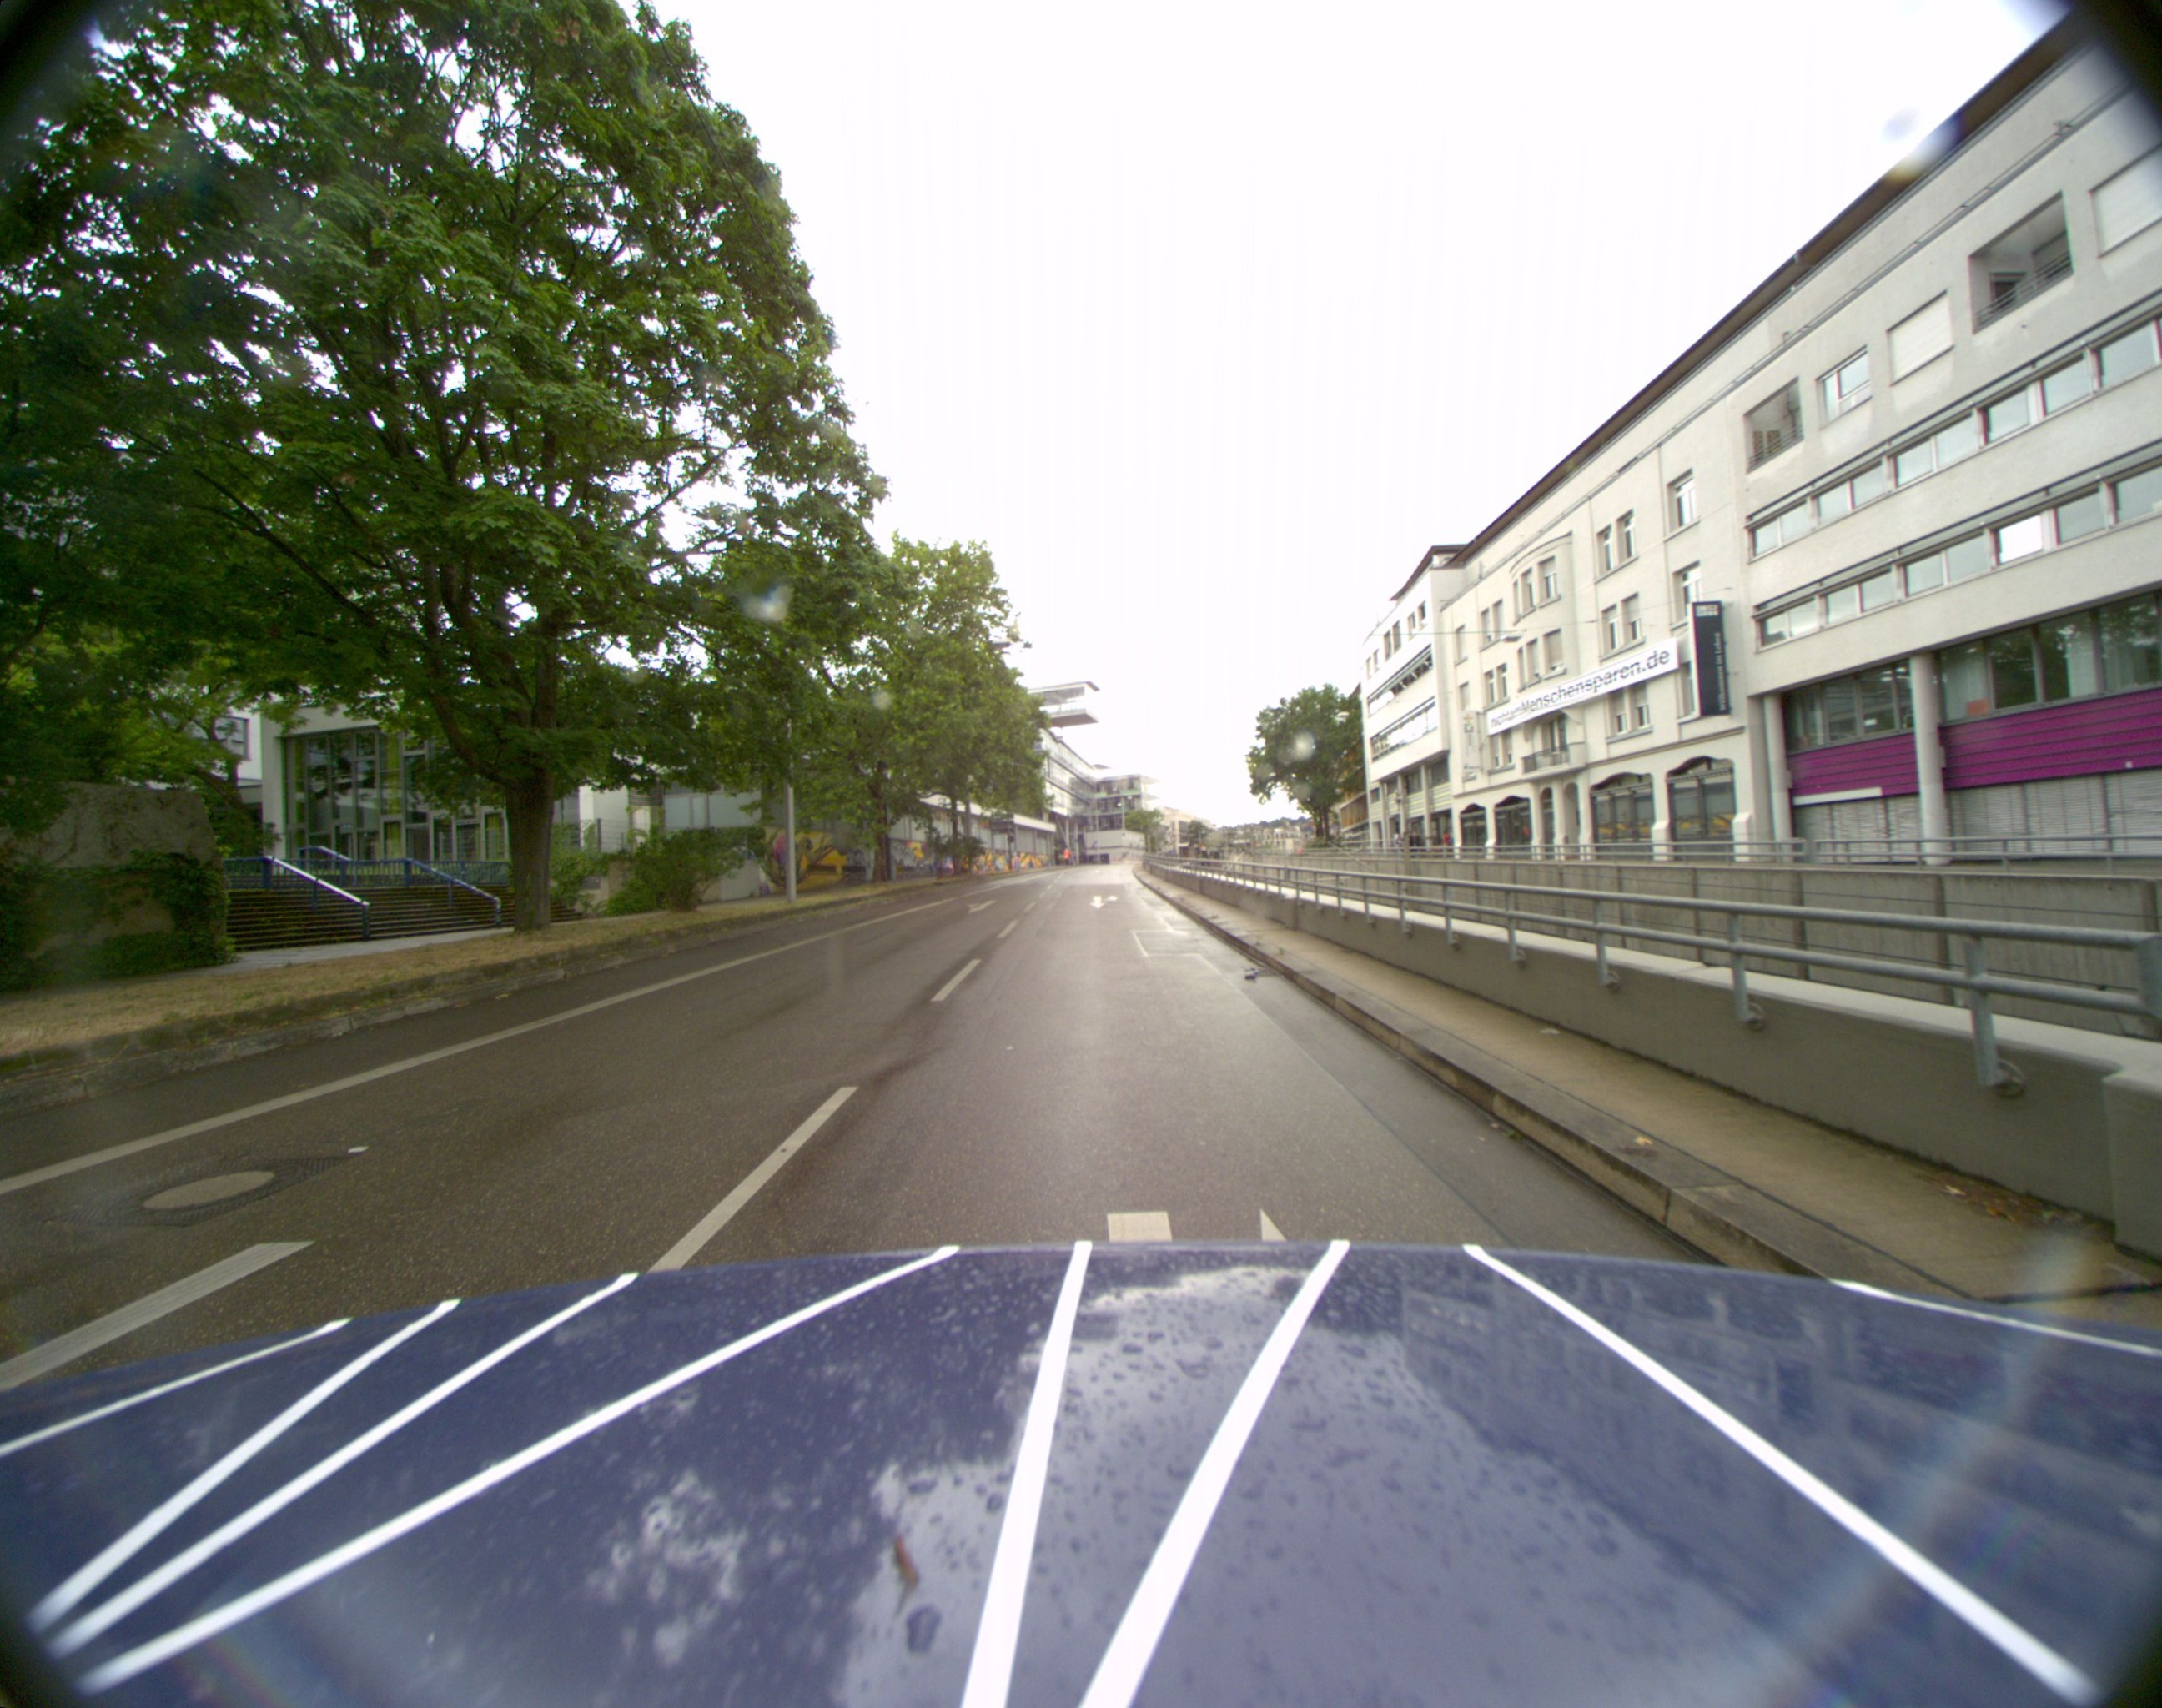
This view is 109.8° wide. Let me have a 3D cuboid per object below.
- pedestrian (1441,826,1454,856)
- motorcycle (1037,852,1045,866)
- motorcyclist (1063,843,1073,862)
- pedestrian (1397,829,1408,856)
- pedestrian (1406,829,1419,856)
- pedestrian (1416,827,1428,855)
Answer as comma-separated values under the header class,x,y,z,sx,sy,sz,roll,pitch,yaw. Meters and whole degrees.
class,x,y,z,sx,sy,sz,roll,pitch,yaw
pedestrian,22.829,-0.797,47.369,0.470,1.792,0.547,-4,1,0
motorcycle,-3.557,0.444,67.632,0.469,1.218,1.019,-4,0,9
motorcyclist,-1.388,-0.137,80.436,0.754,2.002,1.002,-4,1,9
pedestrian,21.721,-0.805,51.306,0.469,1.792,0.548,-4,1,8
pedestrian,22.484,-0.778,51.571,0.547,1.792,0.470,-4,1,-7
pedestrian,22.575,-0.853,50.309,0.470,1.792,0.547,-4,1,3
